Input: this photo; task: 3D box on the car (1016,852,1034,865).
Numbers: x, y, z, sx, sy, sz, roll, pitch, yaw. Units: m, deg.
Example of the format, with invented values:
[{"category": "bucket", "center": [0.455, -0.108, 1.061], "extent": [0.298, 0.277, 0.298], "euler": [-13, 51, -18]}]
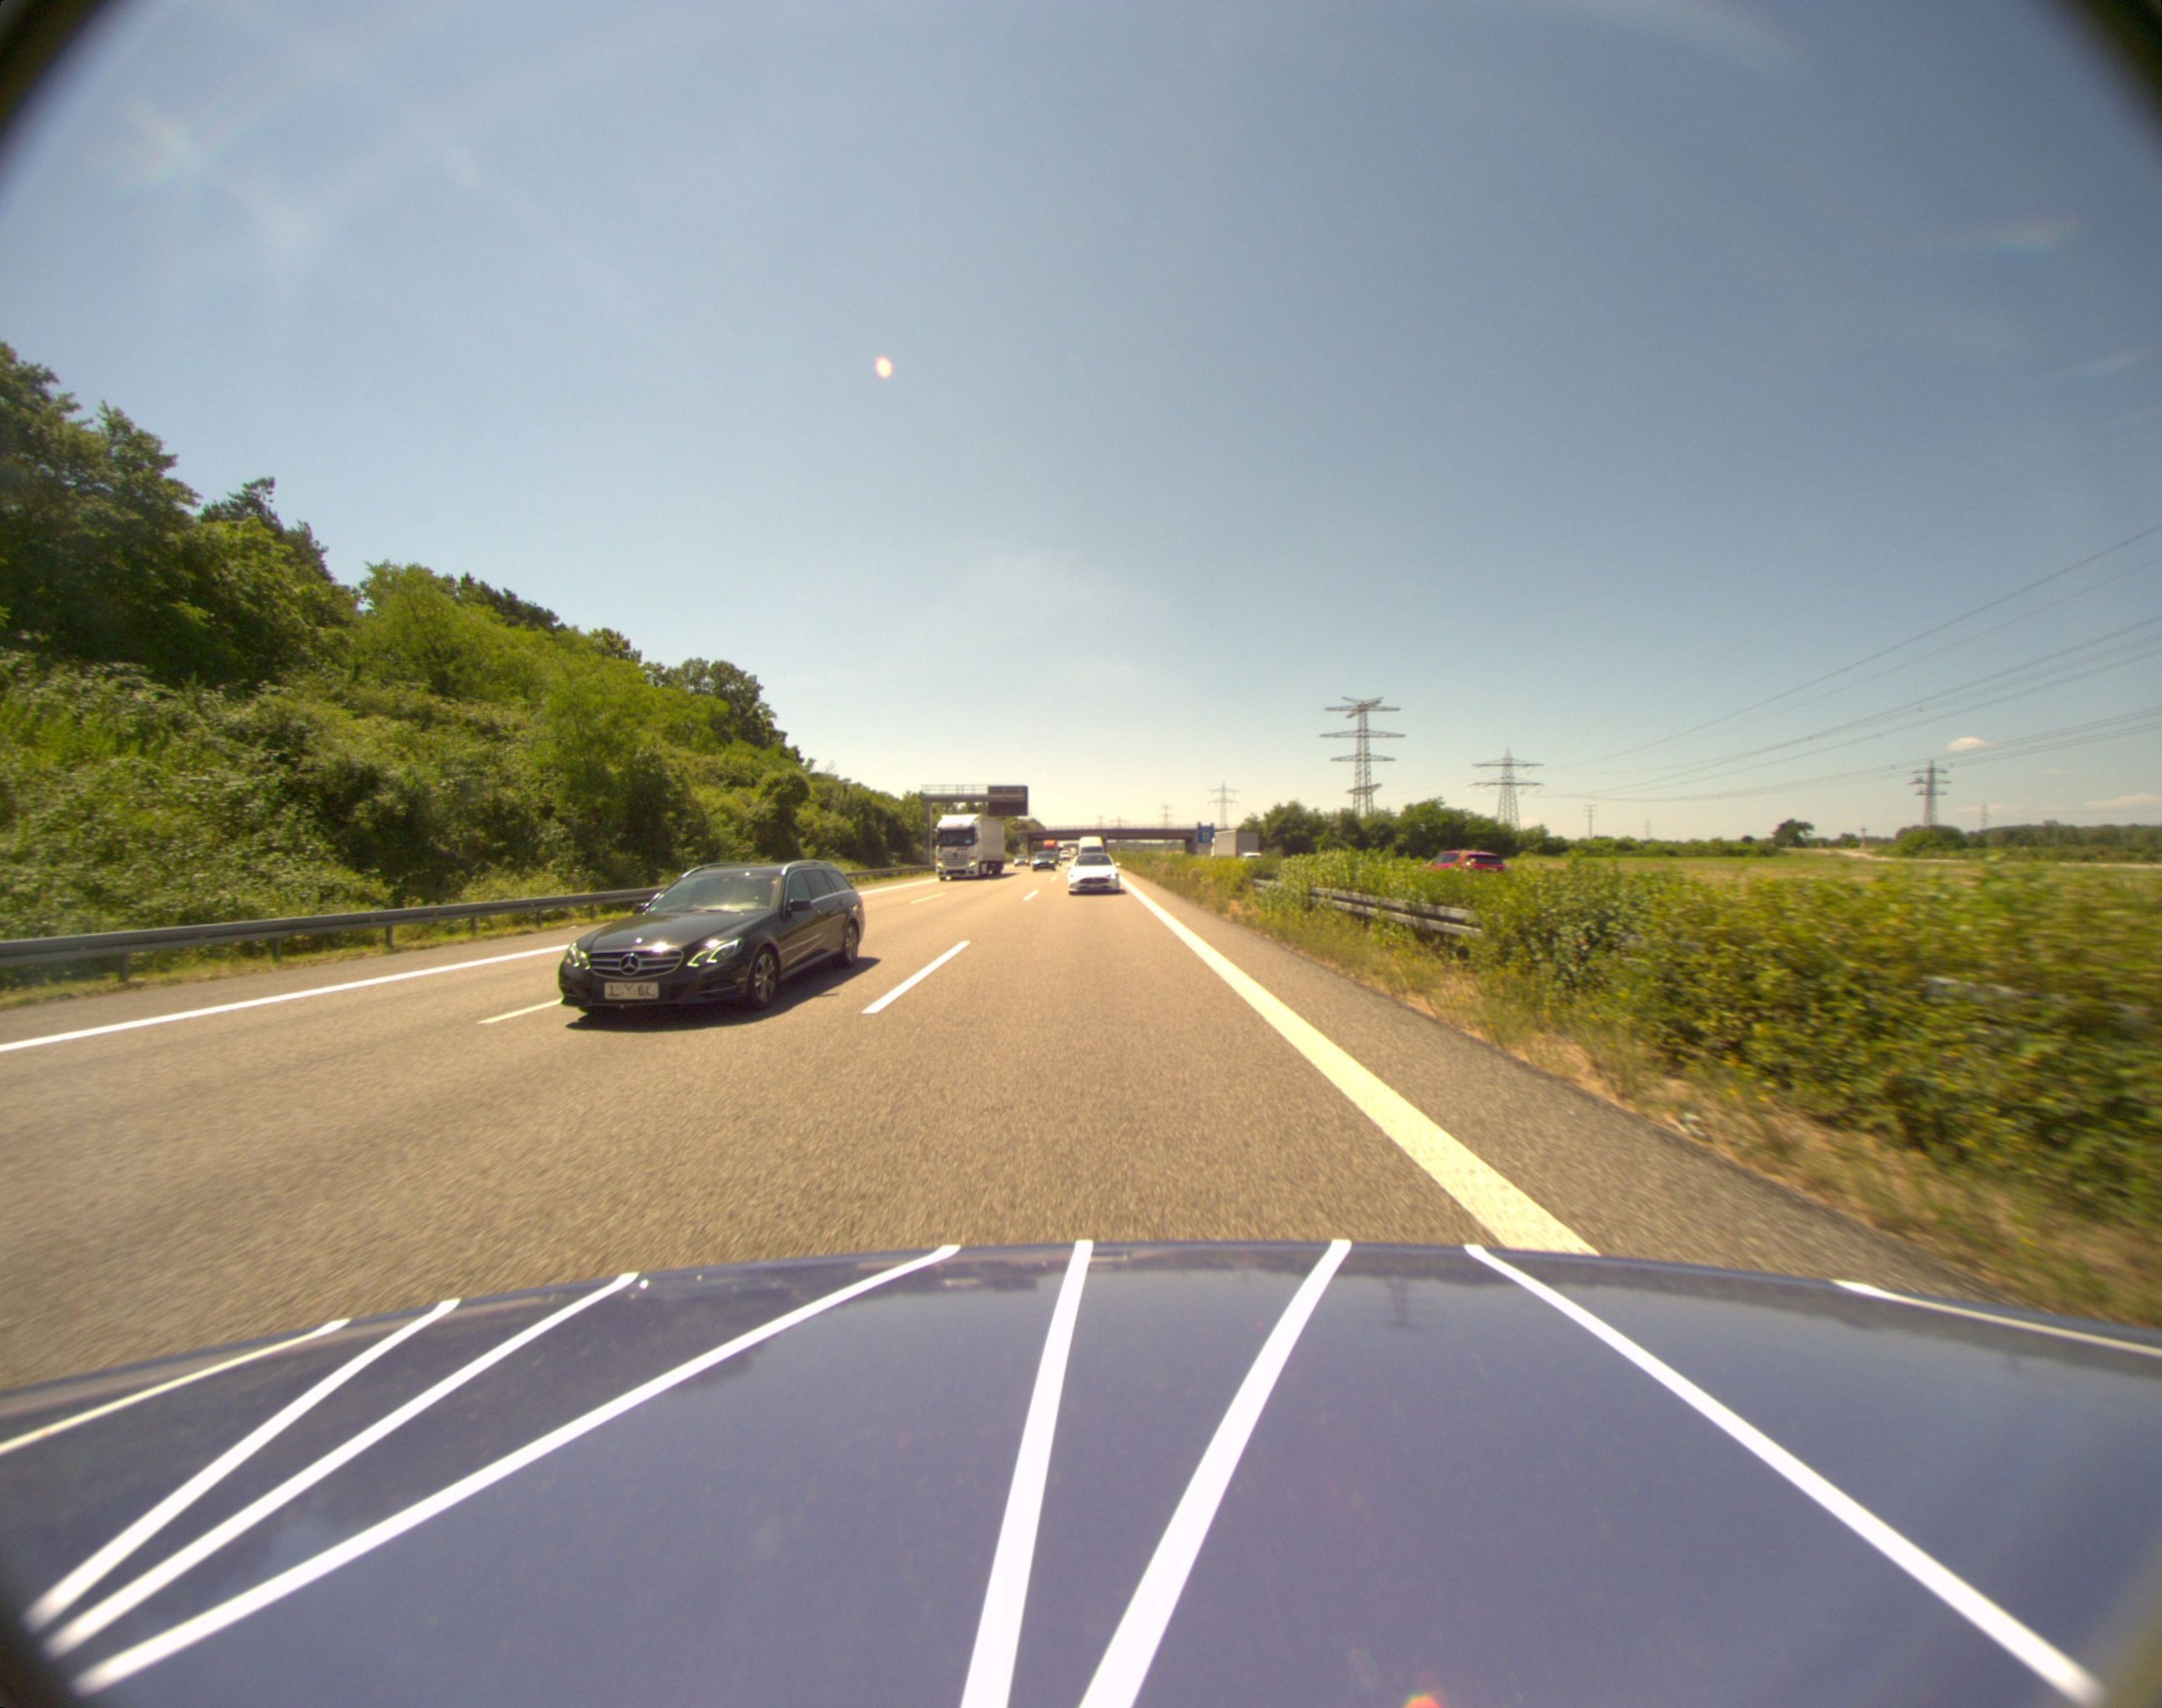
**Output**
[{"category": "car", "center": [-6.692, 0.511, 91.636], "extent": [1.840, 1.403, 4.558], "euler": [-2, 0, 0]}]

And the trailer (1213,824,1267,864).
[{"category": "trailer", "center": [18.696, -1.172, 90.764], "extent": [3.376, 4.383, 14.318], "euler": [1, 1, 0]}]

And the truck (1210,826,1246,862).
[{"category": "truck", "center": [18.716, -1.241, 97.245], "extent": [3.376, 4.383, 6.555], "euler": [1, 1, 1]}]

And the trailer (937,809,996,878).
[{"category": "trailer", "center": [-7.261, -0.641, 48.949], "extent": [2.720, 4.079, 6.788], "euler": [-1, 1, 0]}]

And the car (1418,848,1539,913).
[{"category": "car", "center": [13.859, 0.844, 26.812], "extent": [1.998, 2.002, 4.293], "euler": [-2, 1, 1]}]

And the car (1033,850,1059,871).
[{"category": "car", "center": [-2.943, 0.521, 65.248], "extent": [1.984, 1.671, 4.558], "euler": [-1, 0, 0]}]

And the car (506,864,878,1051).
[{"category": "car", "center": [-4.073, 0.949, 9.077], "extent": [1.845, 1.497, 4.738], "euler": [-2, 0, 2]}]

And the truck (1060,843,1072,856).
[{"category": "truck", "center": [-4.609, -1.438, 230.239], "extent": [3.507, 3.891, 9.645], "euler": [-1, 1, -1]}]

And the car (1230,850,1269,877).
[{"category": "car", "center": [12.845, 0.709, 58.244], "extent": [1.998, 1.932, 4.725], "euler": [0, 1, 1]}]

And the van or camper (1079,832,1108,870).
[{"category": "van or camper", "center": [1.011, -0.214, 59.049], "extent": [1.998, 2.741, 5.410], "euler": [-2, 1, 2]}]

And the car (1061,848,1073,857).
[{"category": "car", "center": [-2.476, -0.323, 132.592], "extent": [1.984, 1.525, 4.137], "euler": [-1, 0, 0]}]

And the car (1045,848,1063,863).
[{"category": "car", "center": [-3.186, 0.142, 89.094], "extent": [1.984, 1.671, 4.558], "euler": [0, 1, 0]}]

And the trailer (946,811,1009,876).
[{"category": "trailer", "center": [-7.293, -0.733, 55.444], "extent": [2.735, 4.079, 13.187], "euler": [-1, 0, 0]}]

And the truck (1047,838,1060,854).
[{"category": "truck", "center": [-5.866, -1.727, 161.387], "extent": [2.582, 3.204, 5.712], "euler": [-3, 1, -1]}]

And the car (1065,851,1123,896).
[{"category": "car", "center": [0.443, 0.667, 28.581], "extent": [1.984, 1.525, 4.558], "euler": [-1, 0, 0]}]
